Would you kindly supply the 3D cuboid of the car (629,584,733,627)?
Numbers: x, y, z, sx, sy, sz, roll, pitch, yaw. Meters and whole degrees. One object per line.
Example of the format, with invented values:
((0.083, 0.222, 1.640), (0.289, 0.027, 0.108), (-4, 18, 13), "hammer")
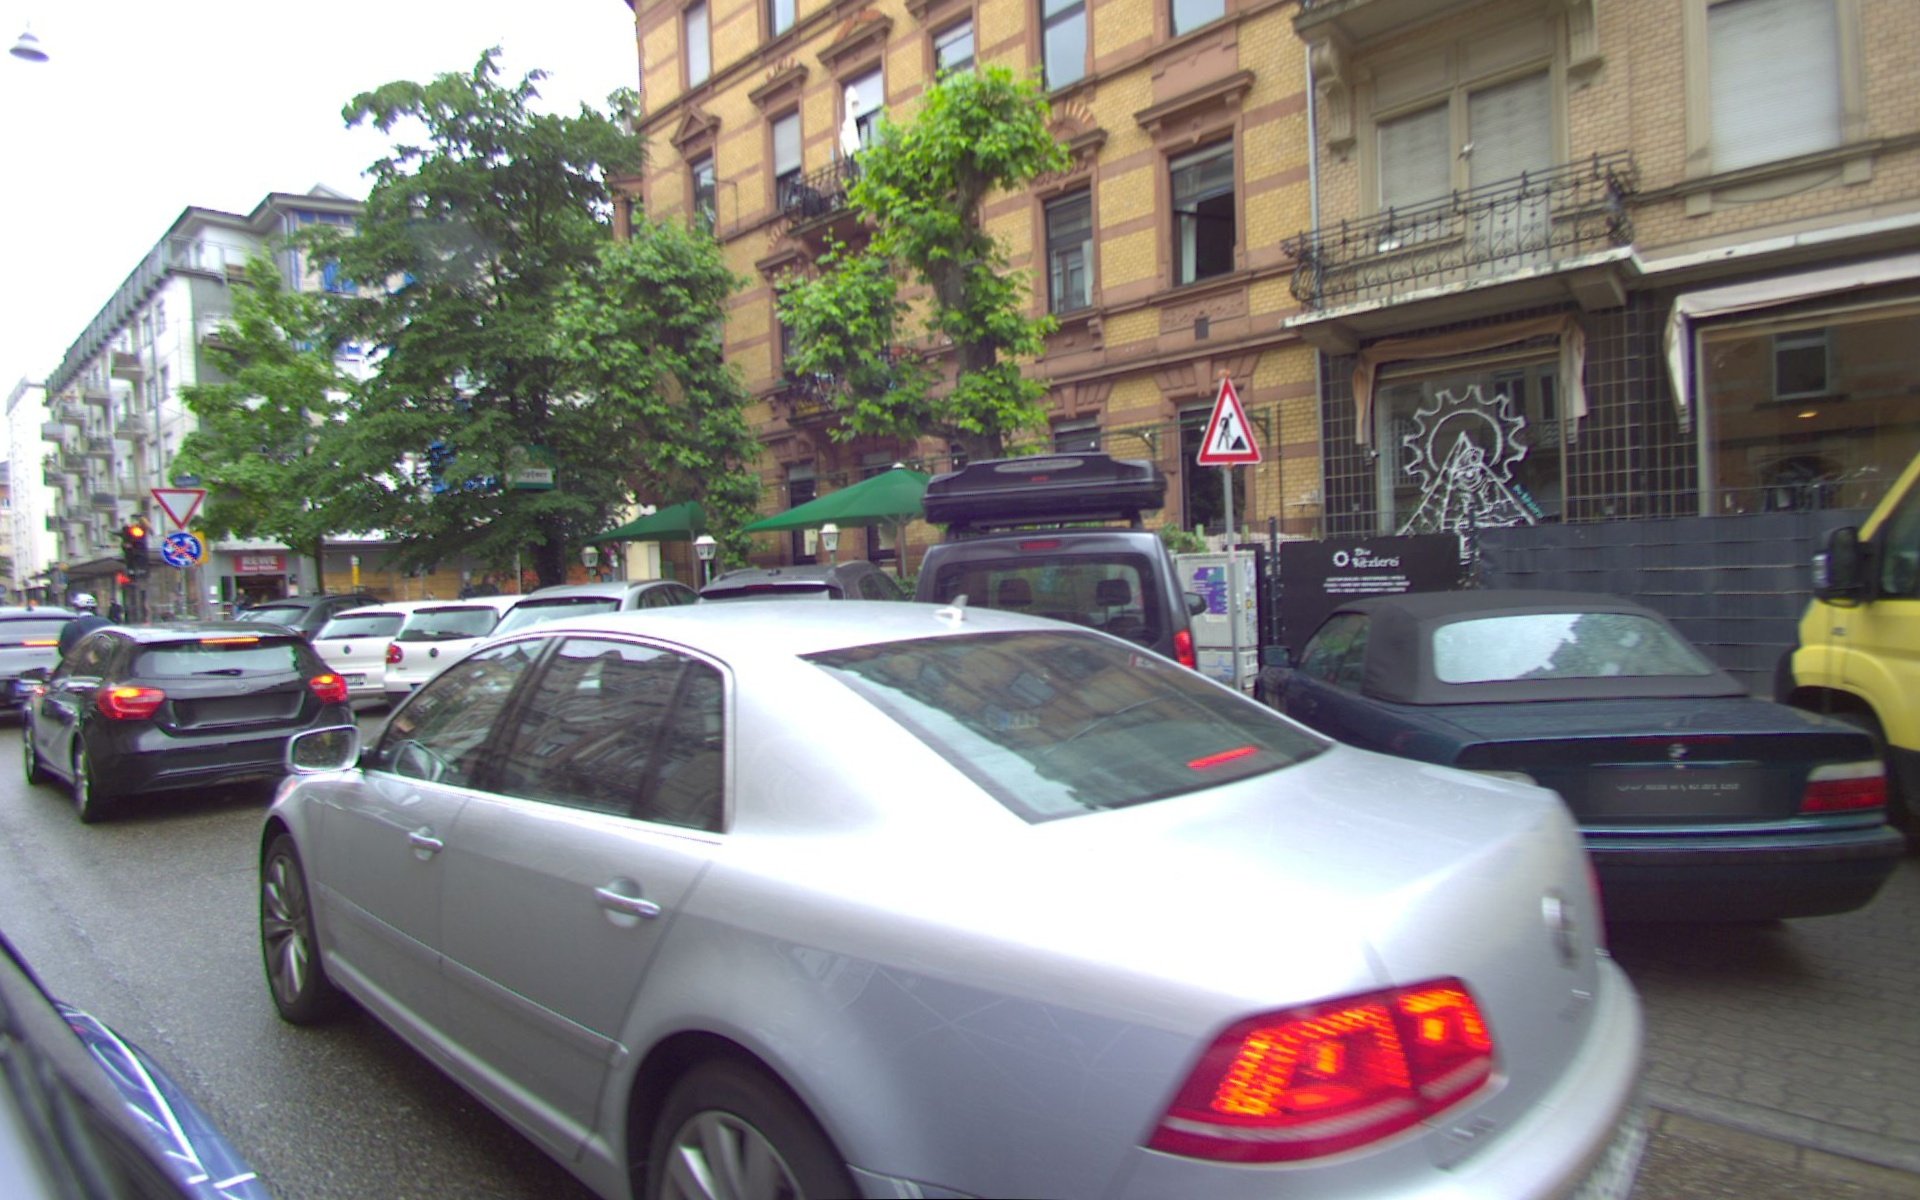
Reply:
((-12.044, 0.247, 43.612), (4.450, 1.693, 1.976), (-2, 1, 37), "car")

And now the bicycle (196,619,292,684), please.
((-13.807, 0.989, 19.506), (1.861, 1.194, 0.397), (-2, 2, 17), "bicycle")

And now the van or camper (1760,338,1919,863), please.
((5.016, 0.029, 2.878), (2.160, 2.284, 4.715), (-3, 2, 9), "van or camper")

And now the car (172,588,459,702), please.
((-11.202, 0.681, 18.064), (1.975, 1.575, 4.452), (-1, 3, 5), "car")

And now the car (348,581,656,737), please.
((-5.706, 0.626, 13.262), (1.779, 1.504, 4.132), (-2, 4, 6), "car")

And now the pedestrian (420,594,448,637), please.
((-20.235, 0.589, 38.942), (0.786, 1.627, 0.606), (-3, 2, -13), "pedestrian")

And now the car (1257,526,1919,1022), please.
((2.728, 0.565, 5.148), (1.807, 1.506, 3.988), (-2, -1, 9), "car")

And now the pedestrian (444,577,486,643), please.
((-15.607, 0.300, 31.947), (0.929, 2.028, 0.866), (-3, 1, -13), "pedestrian")

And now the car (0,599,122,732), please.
((-14.031, 0.910, 14.910), (5.006, 1.672, 1.839), (-2, 0, 42), "car")

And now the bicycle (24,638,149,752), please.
((-10.329, 1.079, 11.933), (2.268, 1.189, 0.762), (-3, -1, 40), "bicycle")

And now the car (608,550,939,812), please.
((-1.311, 0.468, 8.900), (1.779, 1.674, 4.133), (-2, 4, 5), "car")

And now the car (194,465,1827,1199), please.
((-0.533, 0.687, 2.932), (4.581, 1.505, 1.777), (-2, 1, 42), "car")

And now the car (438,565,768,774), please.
((-3.587, 0.565, 11.097), (1.779, 1.674, 4.133), (-2, 4, 5), "car")

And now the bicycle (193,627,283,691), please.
((-13.584, 1.116, 19.047), (1.667, 1.152, 0.397), (-2, 2, 17), "bicycle")

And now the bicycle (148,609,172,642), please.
((-35.101, 1.123, 44.381), (2.024, 1.383, 0.444), (-2, 4, 44), "bicycle")

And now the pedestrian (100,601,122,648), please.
((-34.505, 0.983, 41.154), (0.595, 1.862, 0.770), (-3, 1, -40), "pedestrian")

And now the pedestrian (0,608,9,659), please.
((-36.480, 1.288, 38.079), (0.707, 1.911, 0.606), (-3, 2, -13), "pedestrian")

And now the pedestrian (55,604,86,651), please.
((-36.134, 1.120, 41.134), (0.850, 1.862, 0.770), (-3, 1, -40), "pedestrian")

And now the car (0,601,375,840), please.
((-6.767, 0.881, 8.645), (4.136, 1.505, 1.777), (-4, -1, 41), "car")

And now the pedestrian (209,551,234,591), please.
((-30.108, -1.197, 41.274), (0.536, 1.596, 0.696), (-2, 2, -13), "pedestrian")

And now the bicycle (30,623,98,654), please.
((-36.198, 1.527, 40.918), (0.658, 1.041, 1.879), (-3, 3, 27), "bicycle")

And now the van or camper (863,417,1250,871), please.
((0.784, 0.114, 7.170), (1.915, 2.255, 4.074), (-1, 4, 9), "van or camper")

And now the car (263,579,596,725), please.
((-7.565, 0.622, 15.130), (1.976, 1.574, 4.716), (-4, 3, 7), "car")

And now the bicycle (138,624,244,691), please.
((-14.150, 1.050, 18.624), (1.666, 1.152, 0.585), (-2, 2, 14), "bicycle")
